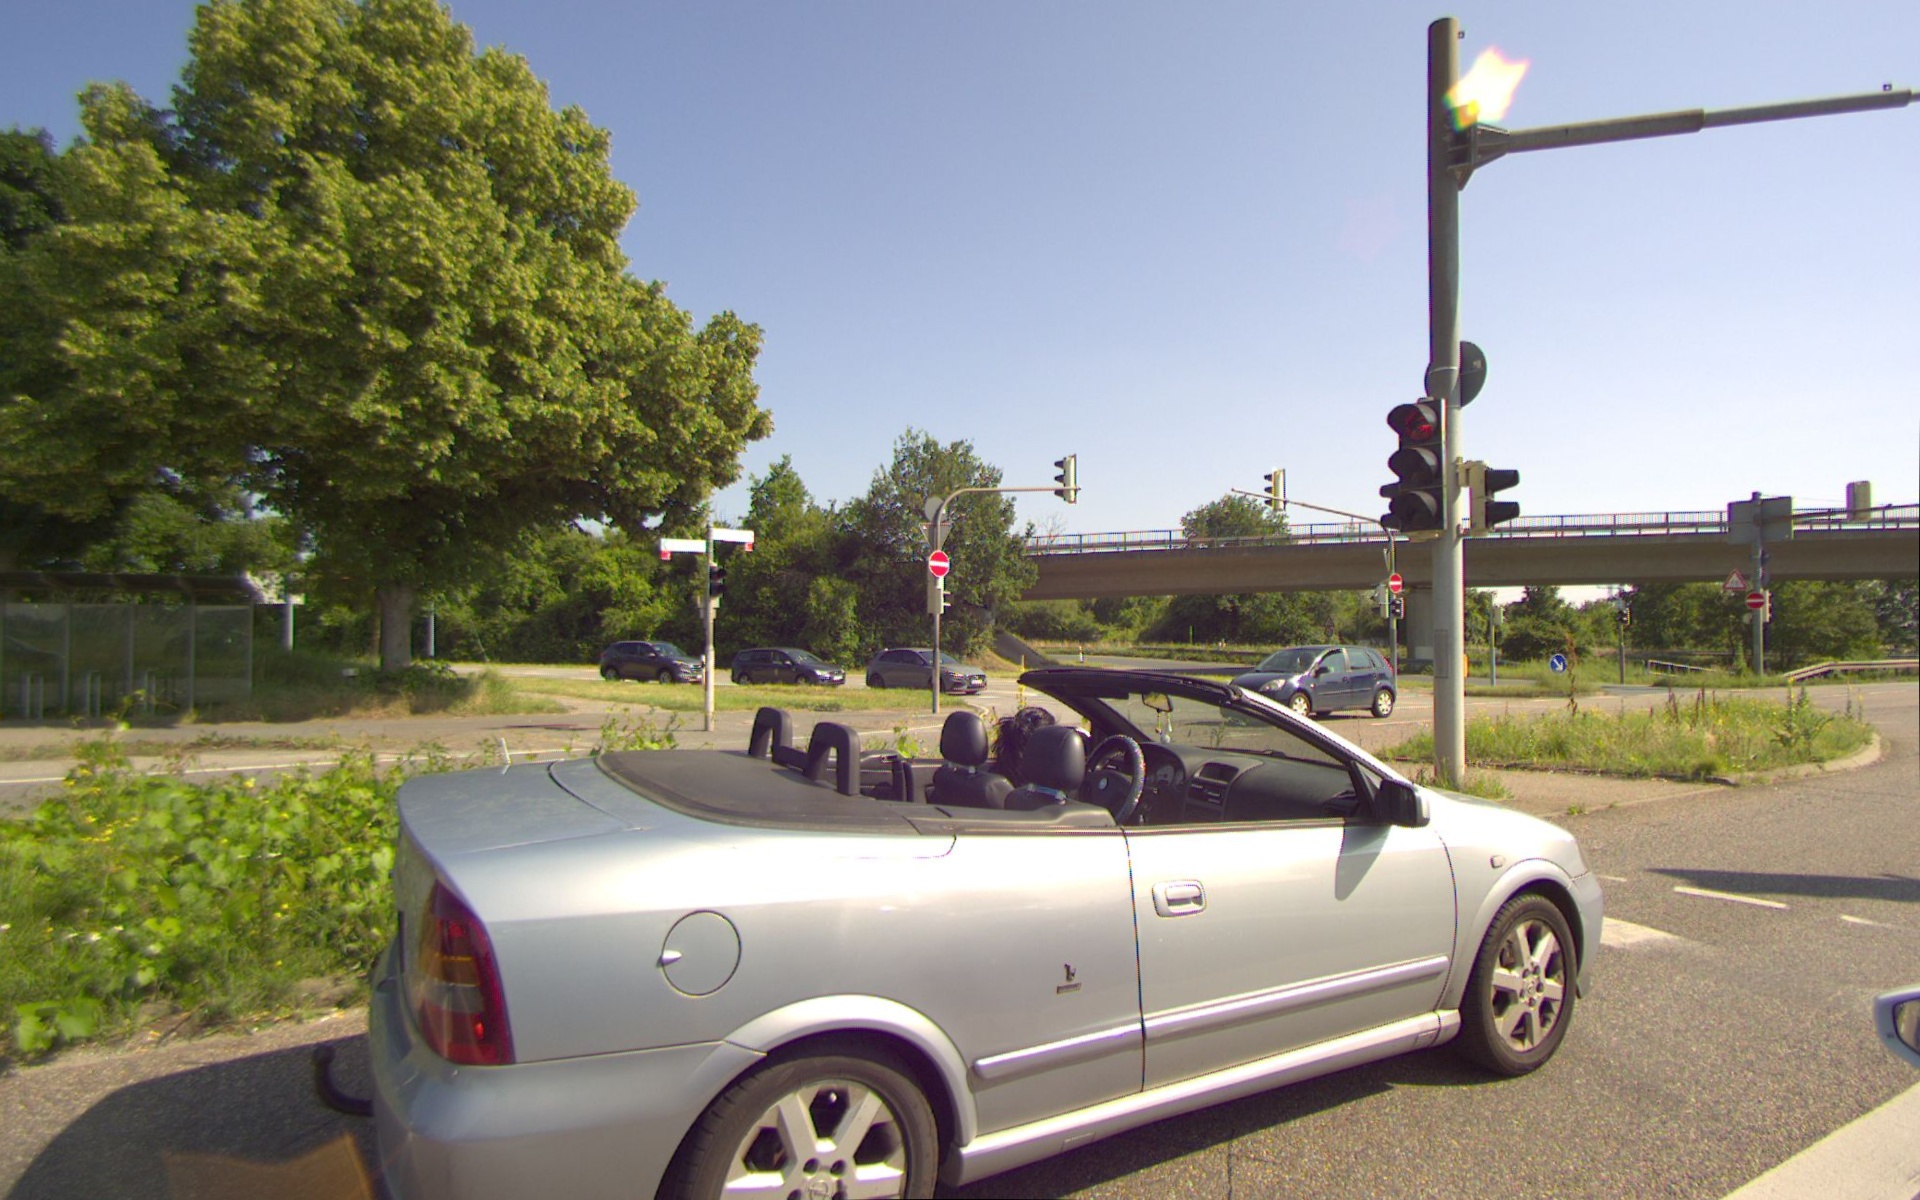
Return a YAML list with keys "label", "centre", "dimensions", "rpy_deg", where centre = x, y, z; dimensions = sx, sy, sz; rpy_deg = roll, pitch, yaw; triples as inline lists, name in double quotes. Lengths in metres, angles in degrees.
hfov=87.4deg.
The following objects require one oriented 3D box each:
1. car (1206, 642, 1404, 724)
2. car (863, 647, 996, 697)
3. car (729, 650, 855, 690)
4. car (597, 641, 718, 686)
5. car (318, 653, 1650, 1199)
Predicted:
- label: "car"
  centre: [6.770, 1.586, 19.664]
  dimensions: [3.732, 1.460, 1.607]
  rpy_deg: [1, -4, -30]
- label: "car"
  centre: [-1.010, 2.236, 31.947]
  dimensions: [4.066, 1.443, 1.862]
  rpy_deg: [-2, -3, 41]
- label: "car"
  centre: [-5.896, 2.416, 35.101]
  dimensions: [4.276, 1.297, 1.648]
  rpy_deg: [-1, -2, 30]
- label: "car"
  centre: [-11.340, 2.331, 37.633]
  dimensions: [4.270, 1.616, 1.651]
  rpy_deg: [-1, -2, 22]
- label: "car"
  centre: [0.329, 0.873, 3.339]
  dimensions: [4.049, 1.352, 1.666]
  rpy_deg: [1, -3, -30]
